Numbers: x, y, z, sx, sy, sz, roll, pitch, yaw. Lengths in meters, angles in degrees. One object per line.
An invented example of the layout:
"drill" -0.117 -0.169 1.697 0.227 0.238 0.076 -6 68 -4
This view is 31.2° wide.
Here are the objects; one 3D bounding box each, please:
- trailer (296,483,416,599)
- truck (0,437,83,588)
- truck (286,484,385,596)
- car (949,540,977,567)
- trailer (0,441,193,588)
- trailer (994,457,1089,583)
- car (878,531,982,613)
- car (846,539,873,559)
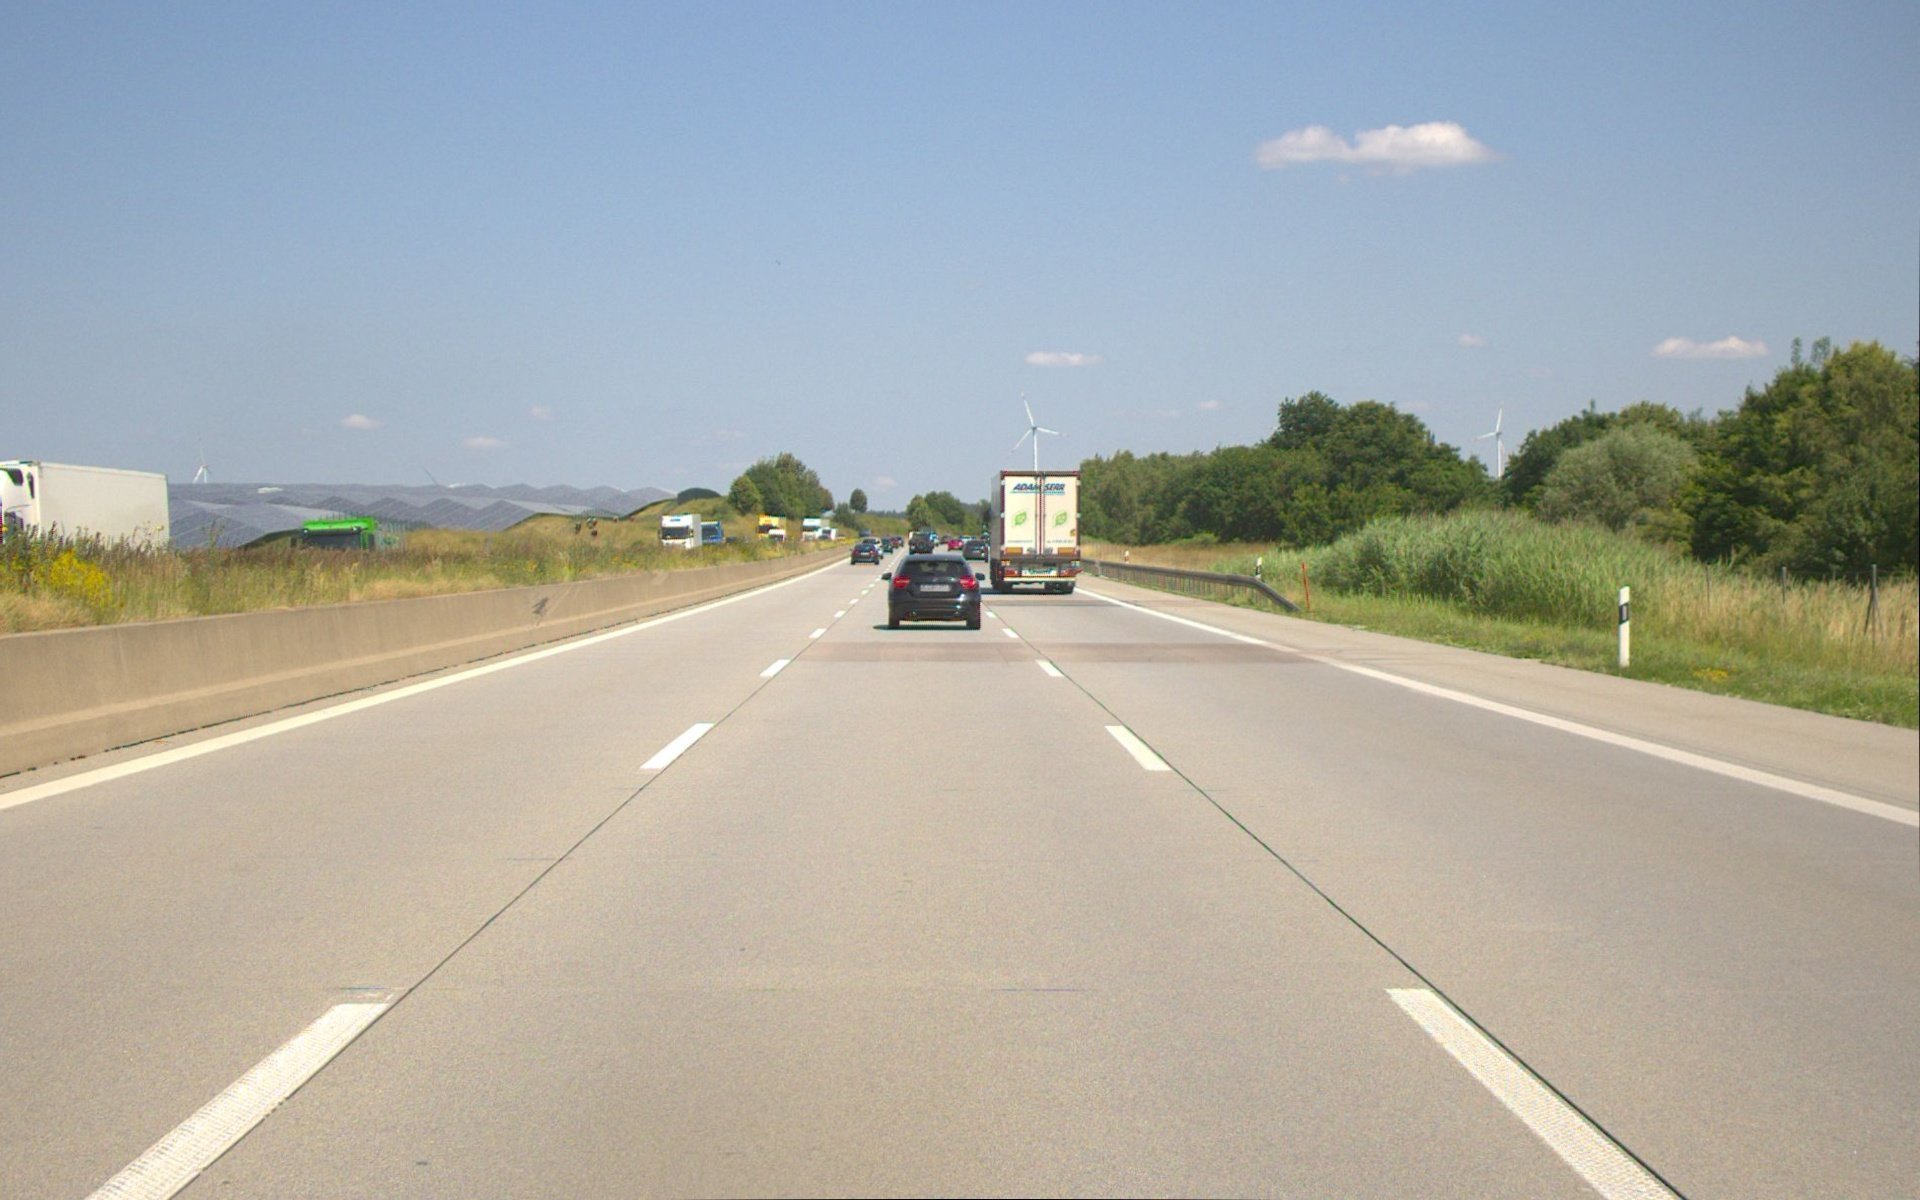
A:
"trailer" -22.494 -2.215 128.493 2.732 4.177 10.257 0 1 0
"truck" -21.244 -1.832 74.762 2.832 3.146 5.827 -1 1 0
"truck" -22.493 -2.159 124.070 2.745 3.937 4.353 1 1 0
"car" 0.243 -3.283 243.083 1.827 1.900 4.000 1 1 2
"trailer" -21.295 -1.922 81.920 2.832 3.172 14.507 -1 1 0
"trailer" 2.683 -2.679 117.391 2.852 4.029 12.714 1 1 0
"car" -0.605 -0.560 66.521 1.910 1.487 4.192 1 1 -1
"car" -6.563 -3.356 224.344 1.655 1.192 3.960 3 1 -1
